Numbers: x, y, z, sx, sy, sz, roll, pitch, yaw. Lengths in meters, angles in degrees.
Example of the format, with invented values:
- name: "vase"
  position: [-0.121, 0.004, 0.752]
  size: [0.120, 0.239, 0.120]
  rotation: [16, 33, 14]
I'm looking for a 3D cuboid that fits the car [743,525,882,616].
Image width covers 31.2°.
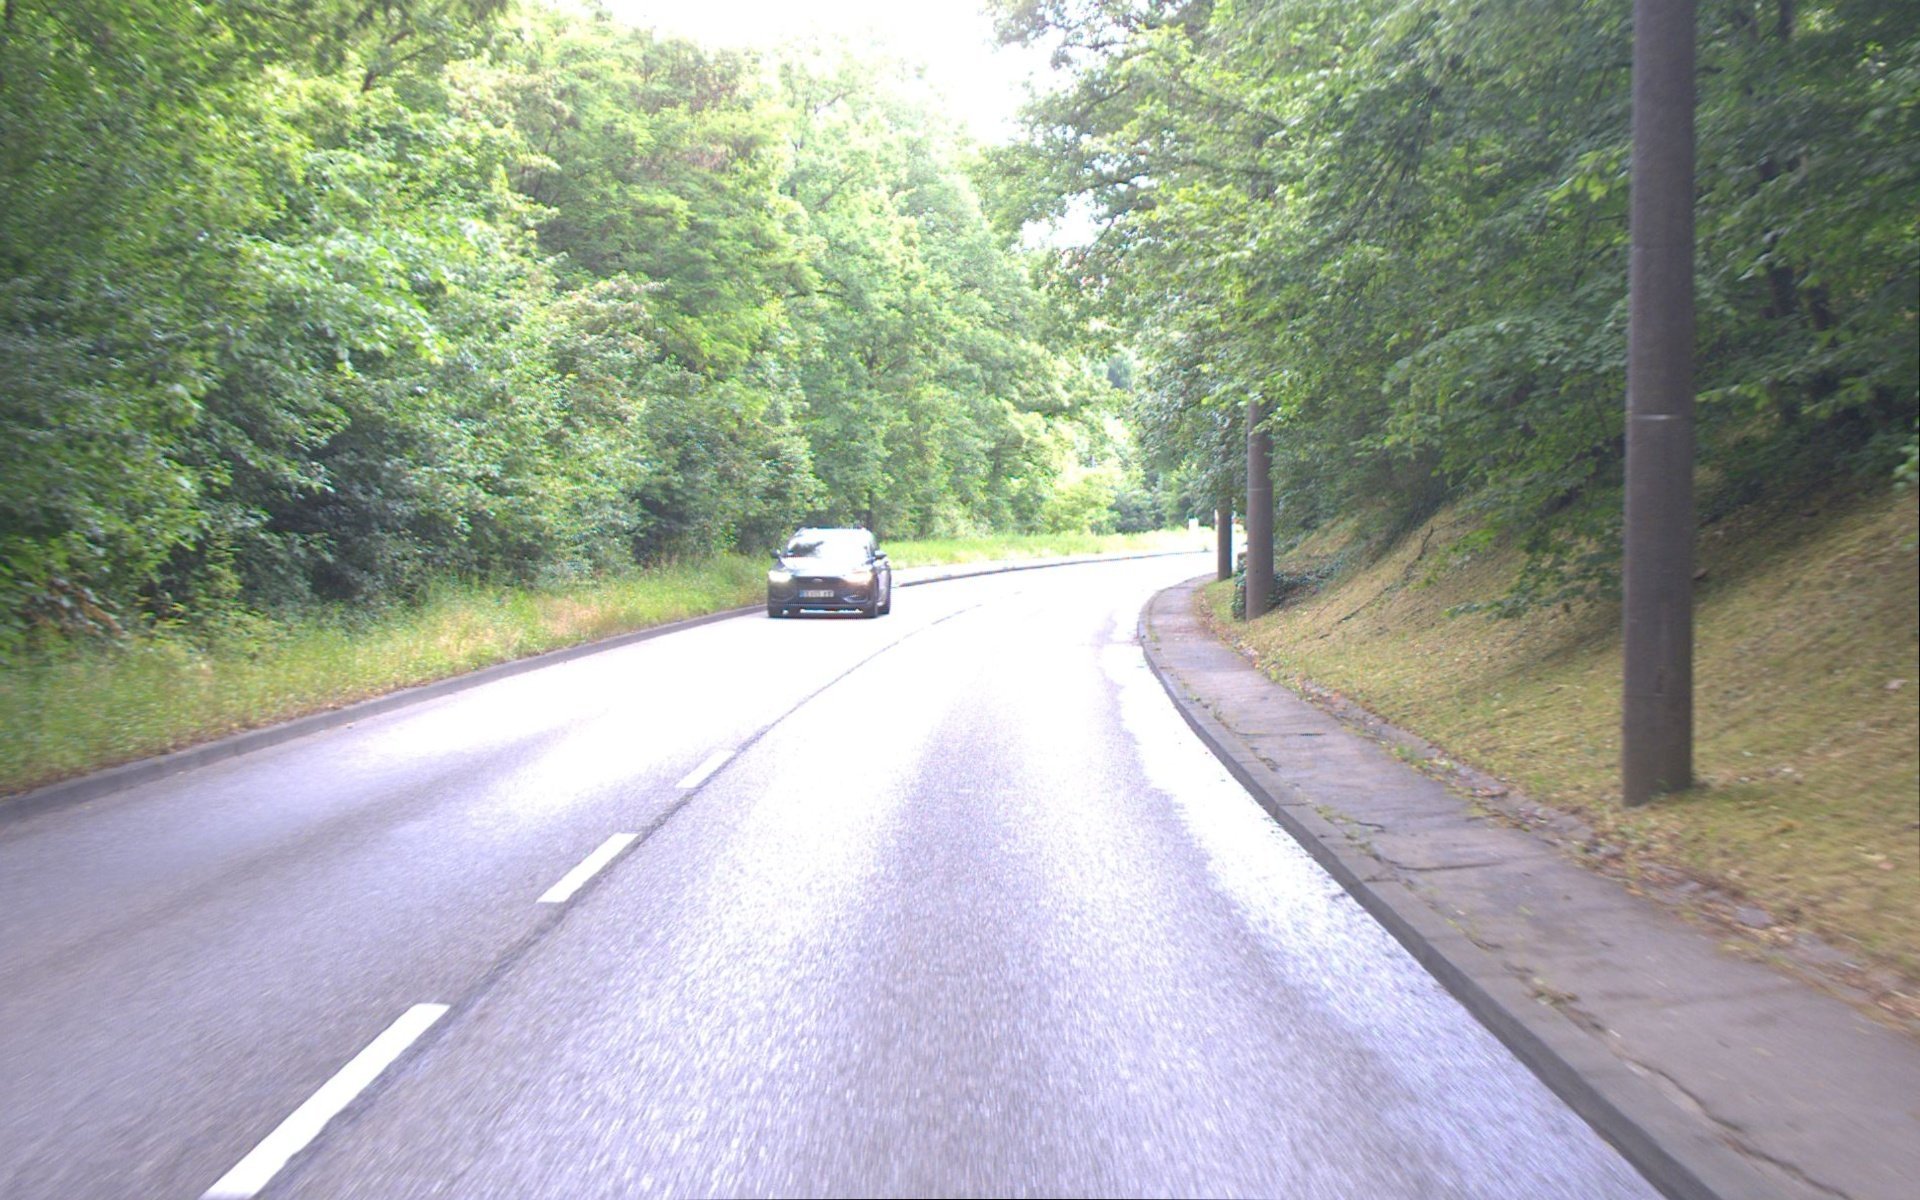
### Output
- name: "car"
  position: [-2.503, -0.497, 57.589]
  size: [1.993, 1.432, 4.001]
  rotation: [1, 0, -7]
